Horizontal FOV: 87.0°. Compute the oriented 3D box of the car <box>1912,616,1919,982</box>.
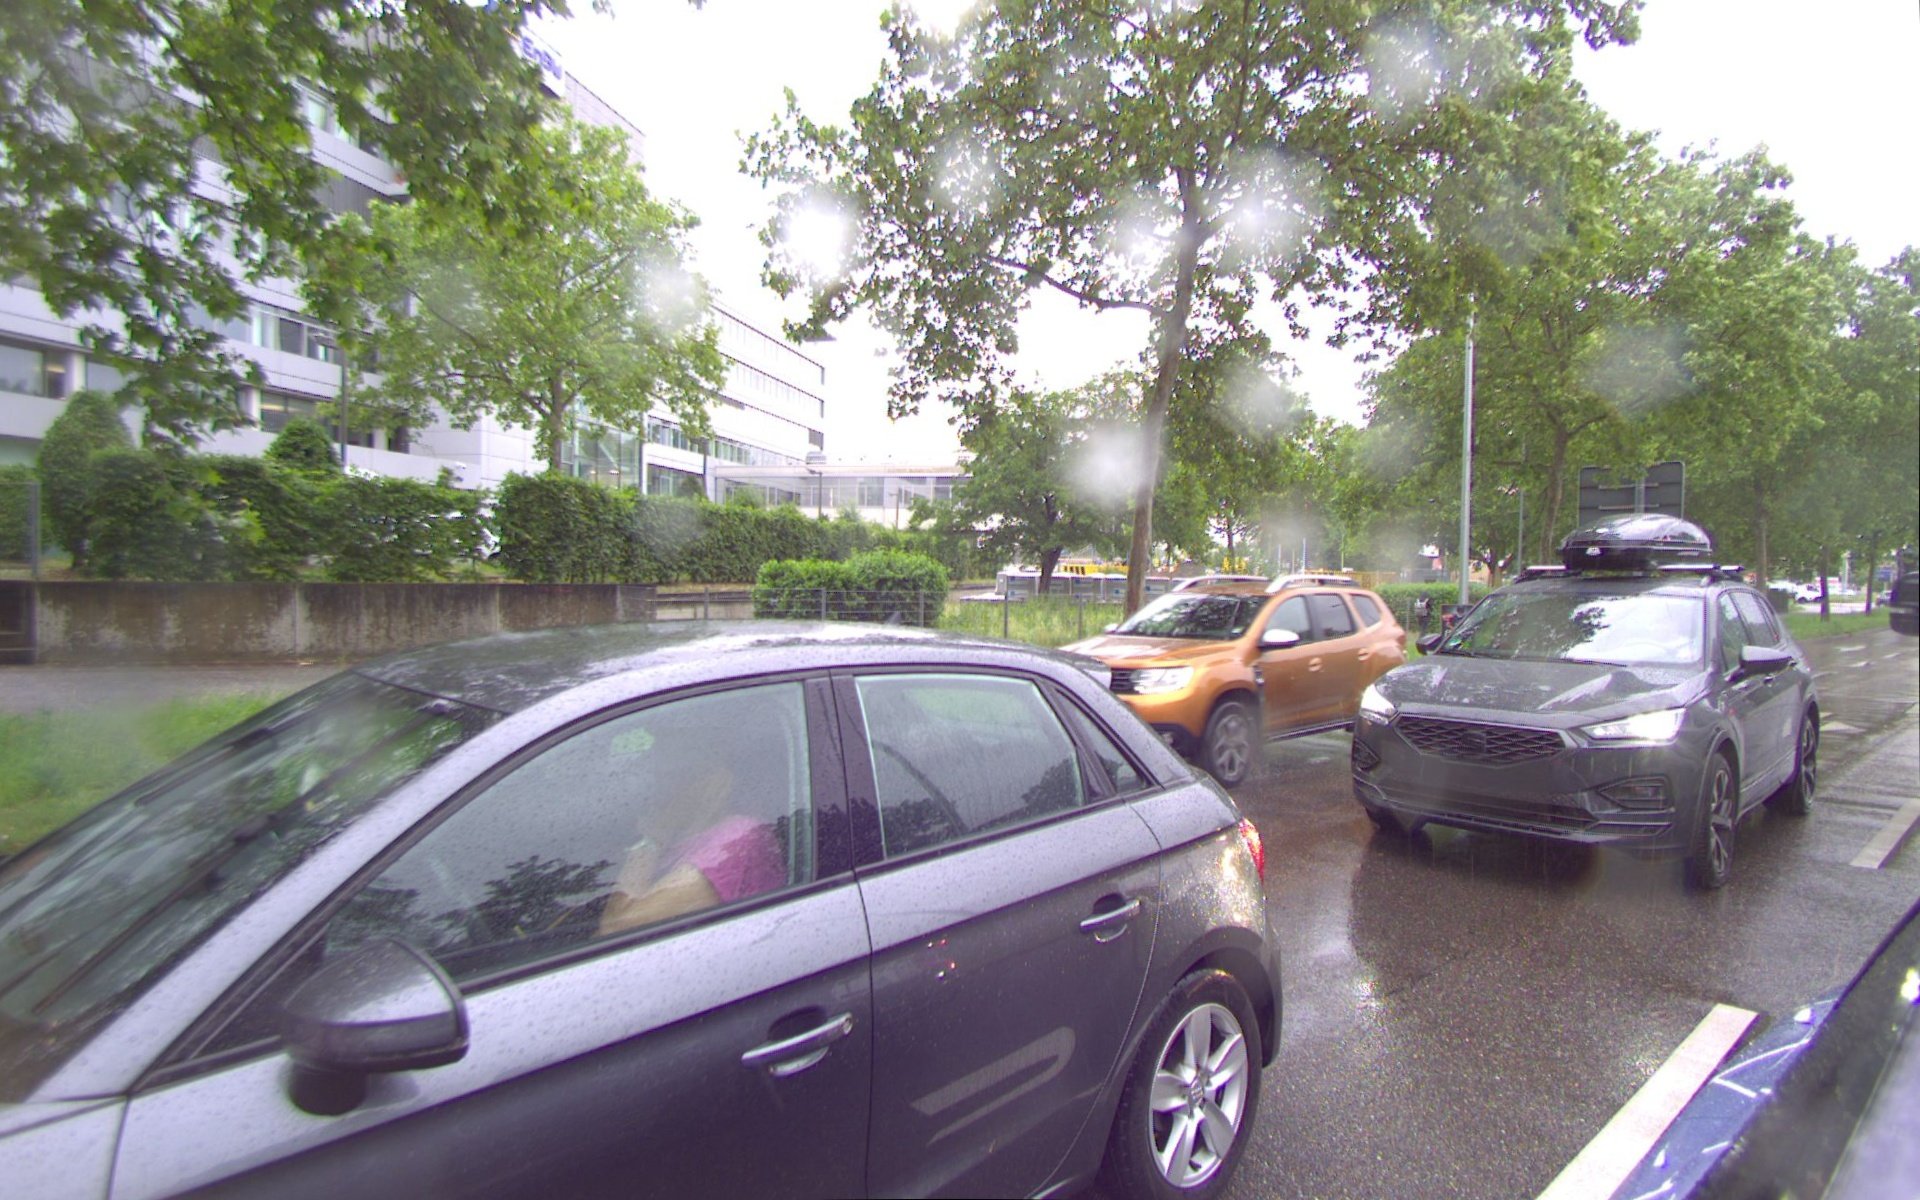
[{"bbox_3d":[6.328,0.181,4.953,5.599,2.544,2.024,0,1,-43],"label":"car"}]

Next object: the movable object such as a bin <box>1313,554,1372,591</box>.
[{"bbox_3d":[36.195,-2.608,95.888,4.842,3.478,1.919,0,0,-2],"label":"movable object such as a bin"}]

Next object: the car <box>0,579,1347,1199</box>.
[{"bbox_3d":[-0.902,0.690,2.150,3.715,1.446,1.679,0,1,-41],"label":"car"}]

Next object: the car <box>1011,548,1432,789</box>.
[{"bbox_3d":[2.509,0.512,9.155,4.074,1.707,1.677,1,-1,-41],"label":"car"}]

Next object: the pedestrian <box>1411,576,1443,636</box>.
[{"bbox_3d":[13.695,0.177,29.685,0.645,1.738,0.645,0,0,-40],"label":"pedestrian"}]

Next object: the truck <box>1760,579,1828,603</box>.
[{"bbox_3d":[85.209,-0.926,103.455,4.988,2.406,1.785,0,0,19],"label":"truck"}]

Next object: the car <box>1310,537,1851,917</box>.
[{"bbox_3d":[4.330,0.548,6.743,4.347,1.719,1.892,0,1,-42],"label":"car"}]

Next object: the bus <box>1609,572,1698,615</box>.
[{"bbox_3d":[43.738,-0.422,63.909,1.681,2.600,4.366,0,0,-41],"label":"bus"}]
